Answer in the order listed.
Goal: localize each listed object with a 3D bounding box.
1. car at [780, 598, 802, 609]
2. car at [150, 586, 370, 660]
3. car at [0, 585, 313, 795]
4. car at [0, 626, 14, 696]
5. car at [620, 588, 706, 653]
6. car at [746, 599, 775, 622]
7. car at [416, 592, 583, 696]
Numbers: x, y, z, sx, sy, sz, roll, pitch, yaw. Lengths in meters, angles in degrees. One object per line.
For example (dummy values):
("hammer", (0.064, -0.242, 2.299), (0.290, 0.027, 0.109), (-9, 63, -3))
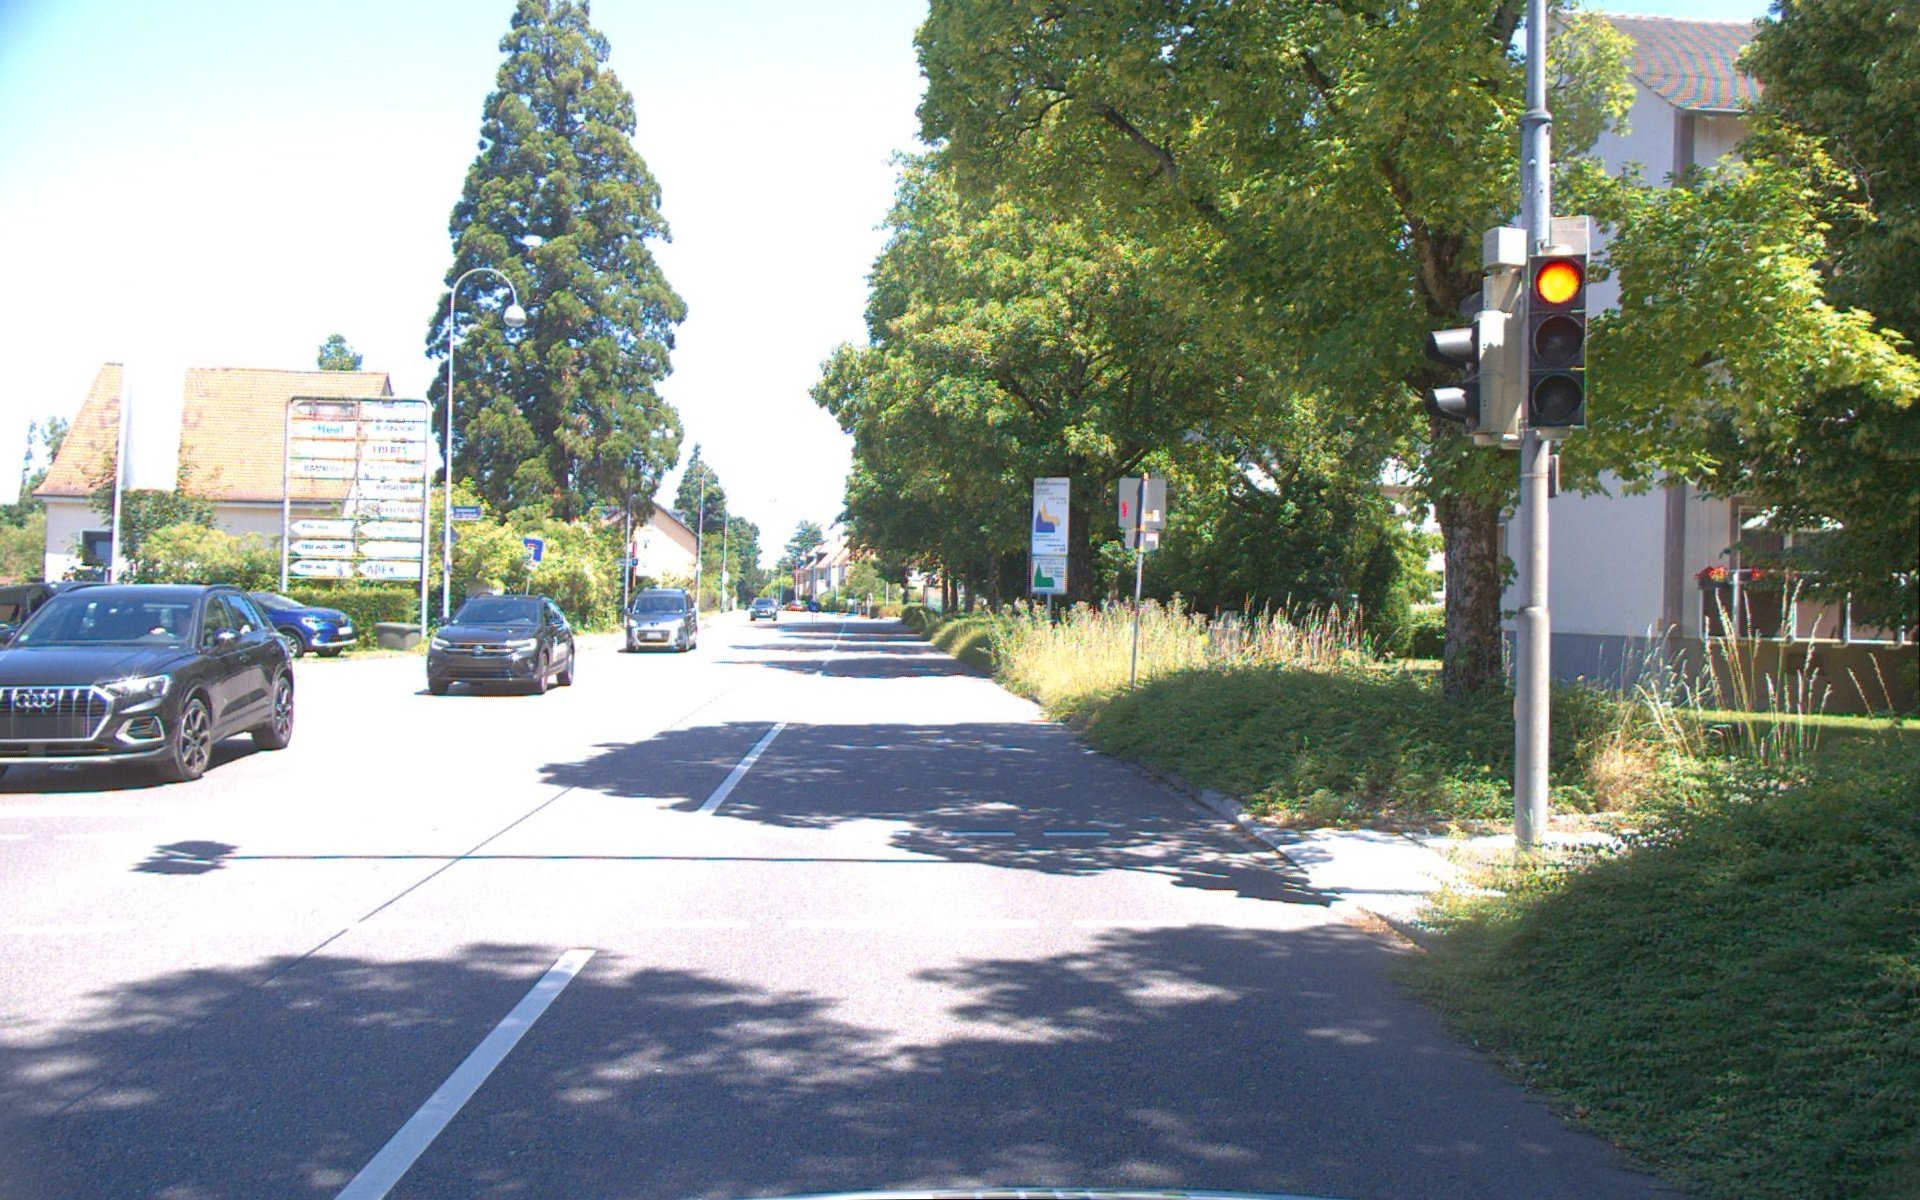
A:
("car", (-21.998, 0.486, 215.751), (1.914, 1.383, 4.439), (0, 0, -19))
("car", (-15.191, 0.476, 35.997), (4.047, 1.531, 1.779), (0, 0, 8))
("car", (-7.281, 0.682, 14.636), (1.890, 1.582, 4.295), (0, 0, -8))
("car", (-24.744, 1.529, 40.068), (1.775, 1.752, 4.081), (1, 0, -8))
("car", (-8.632, 0.574, 48.418), (1.774, 1.793, 4.569), (1, 0, -1))
("car", (-14.053, 0.711, 116.533), (1.758, 1.563, 4.312), (1, 0, -3))
("car", (-7.244, 0.646, 26.396), (1.832, 1.533, 4.049), (0, 0, -5))
